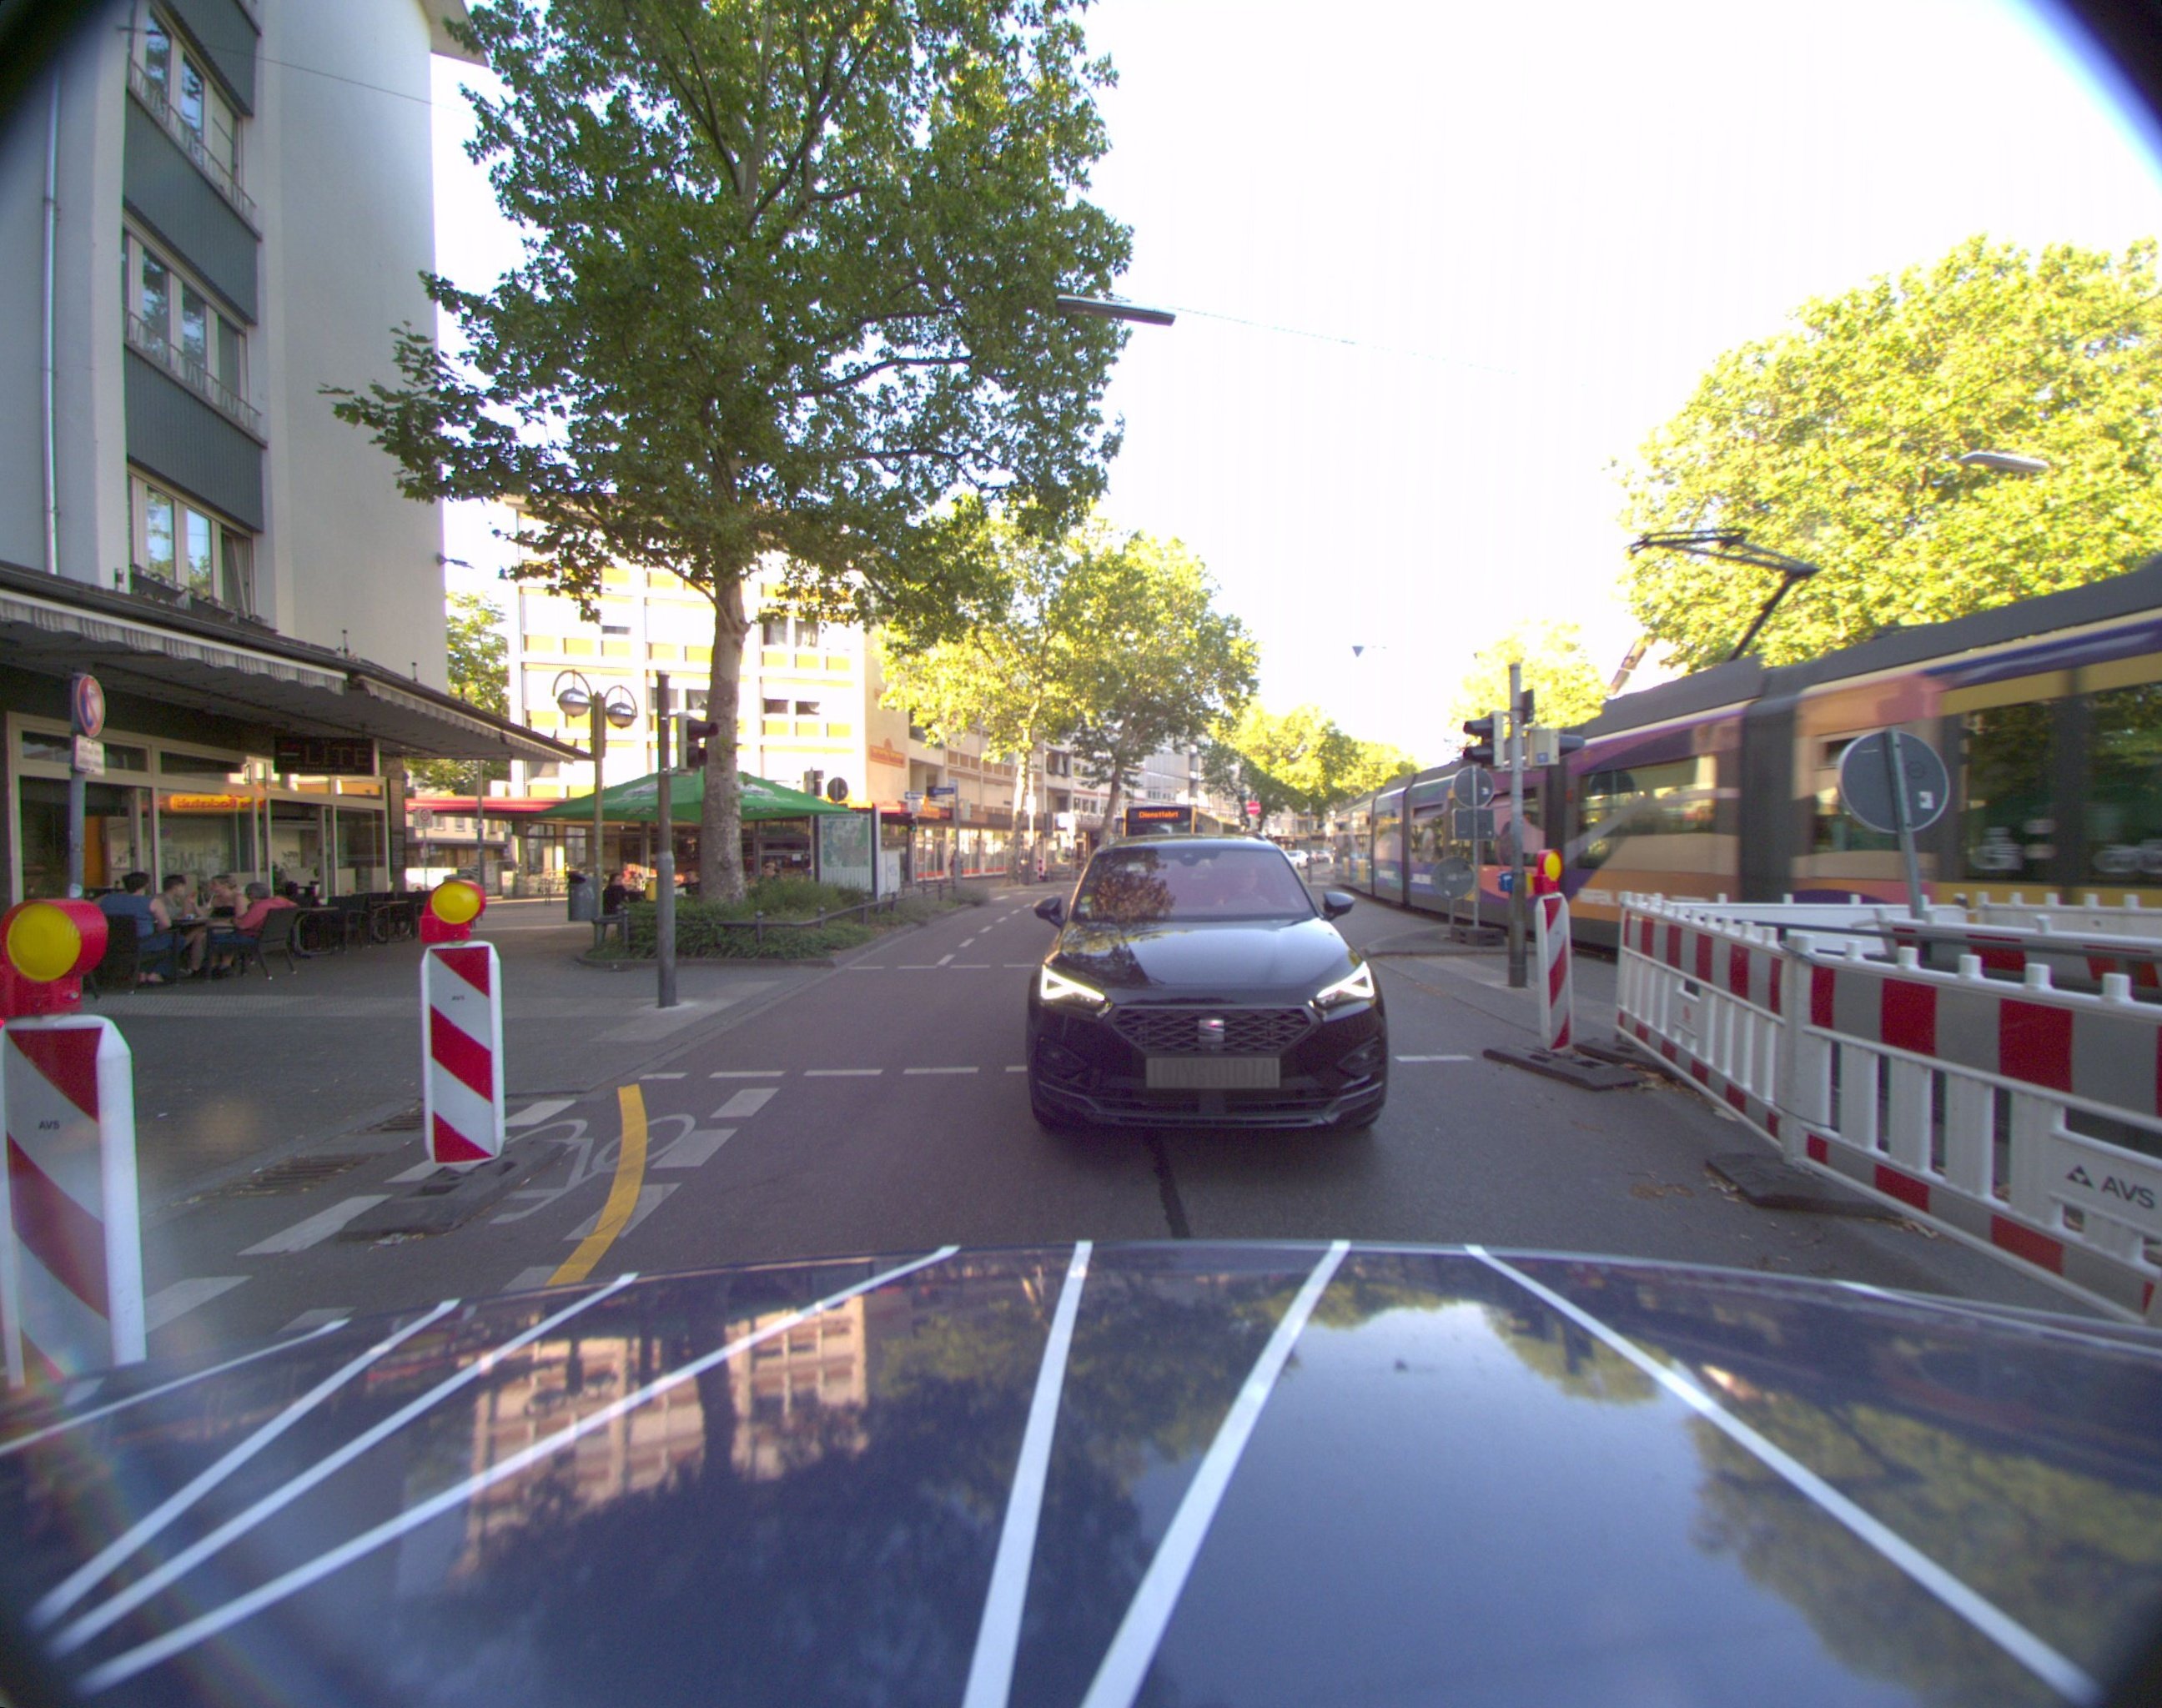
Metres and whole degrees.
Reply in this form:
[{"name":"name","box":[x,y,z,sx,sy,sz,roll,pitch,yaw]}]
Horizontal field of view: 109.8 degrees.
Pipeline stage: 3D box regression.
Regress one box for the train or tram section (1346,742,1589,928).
[{"name":"train or tram section","box":[9.108,-0.393,19.568,2.875,3.467,10.346,-1,1,11]}]

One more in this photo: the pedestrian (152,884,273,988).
[{"name":"pedestrian","box":[-10.695,0.984,9.383,0.666,1.211,0.717,0,0,-5]}]

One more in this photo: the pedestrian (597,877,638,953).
[{"name":"pedestrian","box":[-7.784,1.009,12.752,0.469,1.212,0.431,-2,1,-44]}]

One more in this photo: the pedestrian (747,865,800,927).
[{"name":"pedestrian","box":[-6.545,0.883,16.188,0.718,1.278,0.769,-1,1,13]}]

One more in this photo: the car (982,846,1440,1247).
[{"name":"car","box":[0.682,0.802,5.315,1.848,1.648,4.300,-2,0,4]}]

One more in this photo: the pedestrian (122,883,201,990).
[{"name":"pedestrian","box":[-11.246,0.984,9.295,0.519,1.236,0.553,0,0,34]}]

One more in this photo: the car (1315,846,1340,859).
[{"name":"car","box":[29.784,-0.163,91.858,2.627,1.464,1.201,-1,2,3]}]

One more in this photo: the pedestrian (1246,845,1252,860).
[{"name":"pedestrian","box":[19.735,-0.178,89.039,0.516,1.647,0.571,0,1,28]}]

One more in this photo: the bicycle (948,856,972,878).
[{"name":"bicycle","box":[-6.674,0.695,42.036,0.528,1.136,1.976,0,1,15]}]

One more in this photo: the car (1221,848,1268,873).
[{"name":"car","box":[10.490,0.390,48.473,1.908,1.467,4.425,0,2,26]}]

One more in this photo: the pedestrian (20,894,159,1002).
[{"name":"pedestrian","box":[-11.089,1.024,8.527,0.718,1.123,0.649,1,0,-24]}]

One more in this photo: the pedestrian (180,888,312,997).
[{"name":"pedestrian","box":[-9.850,1.017,9.003,0.847,1.191,0.649,1,0,-22]}]

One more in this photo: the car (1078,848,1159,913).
[{"name":"car","box":[1.098,0.624,20.154,1.743,1.492,4.301,-2,0,7]}]

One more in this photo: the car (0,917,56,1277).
[{"name":"car","box":[-5.151,0.991,1.429,1.623,1.457,3.604,2,0,-2]}]

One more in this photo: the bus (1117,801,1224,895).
[{"name":"bus","box":[3.814,-0.240,29.825,2.750,3.085,9.507,0,1,15]}]

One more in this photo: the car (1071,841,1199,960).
[{"name":"car","box":[0.967,0.642,12.790,1.743,1.630,4.300,-2,0,6]}]

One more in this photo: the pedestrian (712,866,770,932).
[{"name":"pedestrian","box":[-6.812,0.887,15.264,0.718,1.278,0.769,-1,1,14]}]

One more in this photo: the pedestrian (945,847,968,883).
[{"name":"pedestrian","box":[-6.063,0.524,36.959,0.748,1.747,0.903,0,1,17]}]

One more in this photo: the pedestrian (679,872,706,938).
[{"name":"pedestrian","box":[-7.415,0.959,14.487,0.433,1.212,0.467,1,1,-29]}]

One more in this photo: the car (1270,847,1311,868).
[{"name":"car","box":[16.570,0.230,59.919,1.952,1.541,4.765,0,2,31]}]

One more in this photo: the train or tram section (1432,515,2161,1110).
[{"name":"train or tram section","box":[7.966,-0.312,9.476,2.842,3.467,10.339,-1,1,3]}]

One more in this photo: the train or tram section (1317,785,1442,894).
[{"name":"train or tram section","box":[11.172,-0.505,29.530,2.840,3.467,10.347,-1,1,12]}]

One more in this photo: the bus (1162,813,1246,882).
[{"name":"bus","box":[6.520,-0.334,38.854,2.749,3.085,9.509,0,1,18]}]

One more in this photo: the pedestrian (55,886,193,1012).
[{"name":"pedestrian","box":[-10.222,0.982,8.152,0.651,1.244,0.716,1,0,-24]}]
